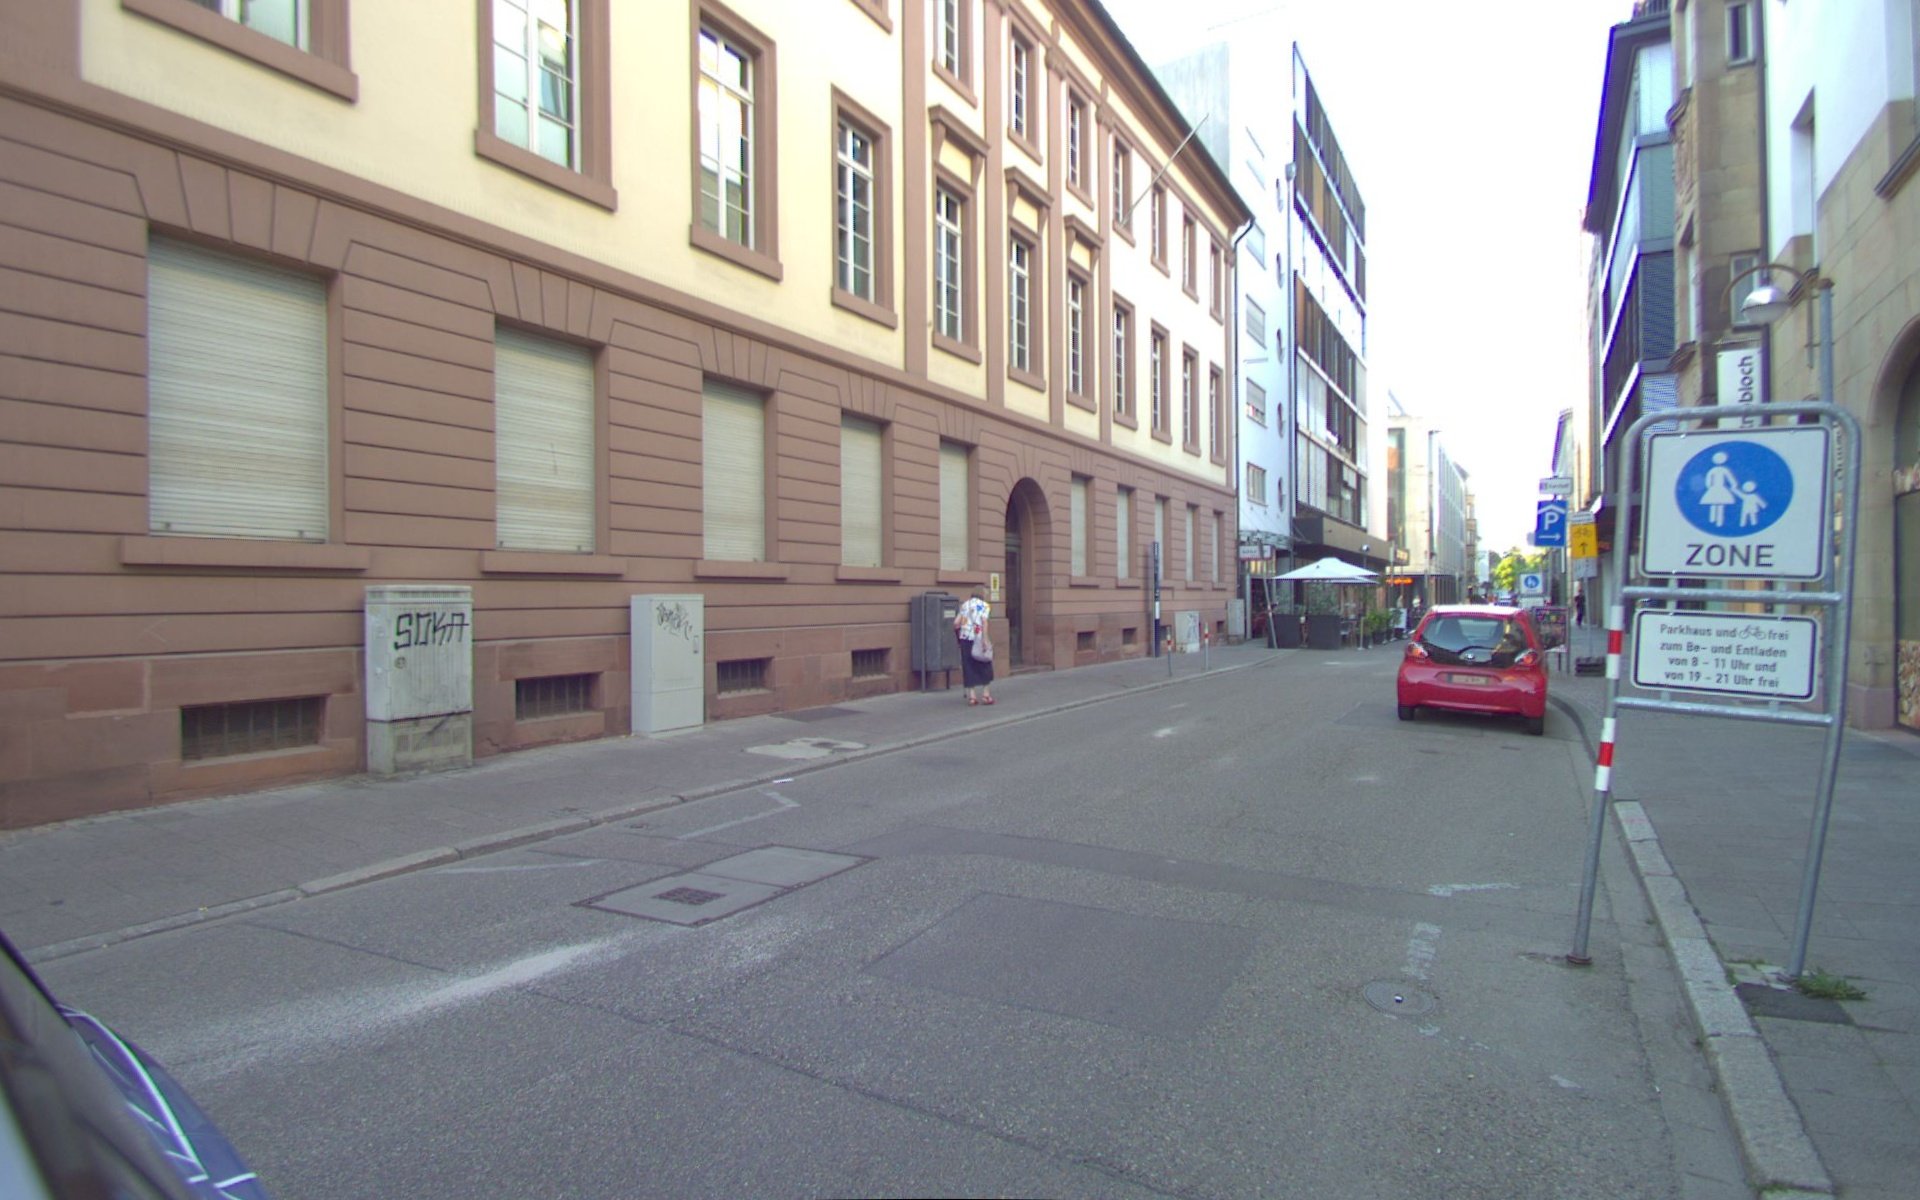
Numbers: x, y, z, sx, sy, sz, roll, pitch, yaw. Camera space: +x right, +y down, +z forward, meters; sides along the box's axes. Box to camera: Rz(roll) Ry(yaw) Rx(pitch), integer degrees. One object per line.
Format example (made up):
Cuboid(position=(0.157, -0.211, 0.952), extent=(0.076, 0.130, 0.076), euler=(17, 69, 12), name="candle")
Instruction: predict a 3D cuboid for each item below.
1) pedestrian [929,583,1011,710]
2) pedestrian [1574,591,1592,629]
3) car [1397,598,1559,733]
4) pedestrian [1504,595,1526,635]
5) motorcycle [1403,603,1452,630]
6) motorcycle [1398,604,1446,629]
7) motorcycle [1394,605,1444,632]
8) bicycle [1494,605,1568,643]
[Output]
Cuboid(position=(0.151, 0.618, 14.059), extent=(0.808, 1.684, 0.922), euler=(0, 0, 28), name="pedestrian")
Cuboid(position=(27.465, 0.430, 44.610), extent=(0.669, 1.684, 0.755), euler=(0, 0, 32), name="pedestrian")
Cuboid(position=(6.767, 0.730, 13.102), extent=(1.633, 1.452, 3.124), euler=(2, 1, 30), name="car")
Cuboid(position=(23.888, 0.631, 43.561), extent=(0.808, 1.684, 0.922), euler=(0, 0, 28), name="pedestrian")
Cuboid(position=(23.299, 0.827, 50.461), extent=(2.188, 1.292, 0.644), euler=(0, 0, 33), name="motorcycle")
Cuboid(position=(23.805, 0.835, 52.147), extent=(2.188, 1.292, 0.644), euler=(0, 0, 33), name="motorcycle")
Cuboid(position=(22.574, 0.897, 49.797), extent=(2.188, 1.292, 0.644), euler=(0, 0, 33), name="motorcycle")
Cuboid(position=(17.750, 0.749, 31.474), extent=(1.947, 1.139, 0.613), euler=(-2, -1, 32), name="bicycle")
